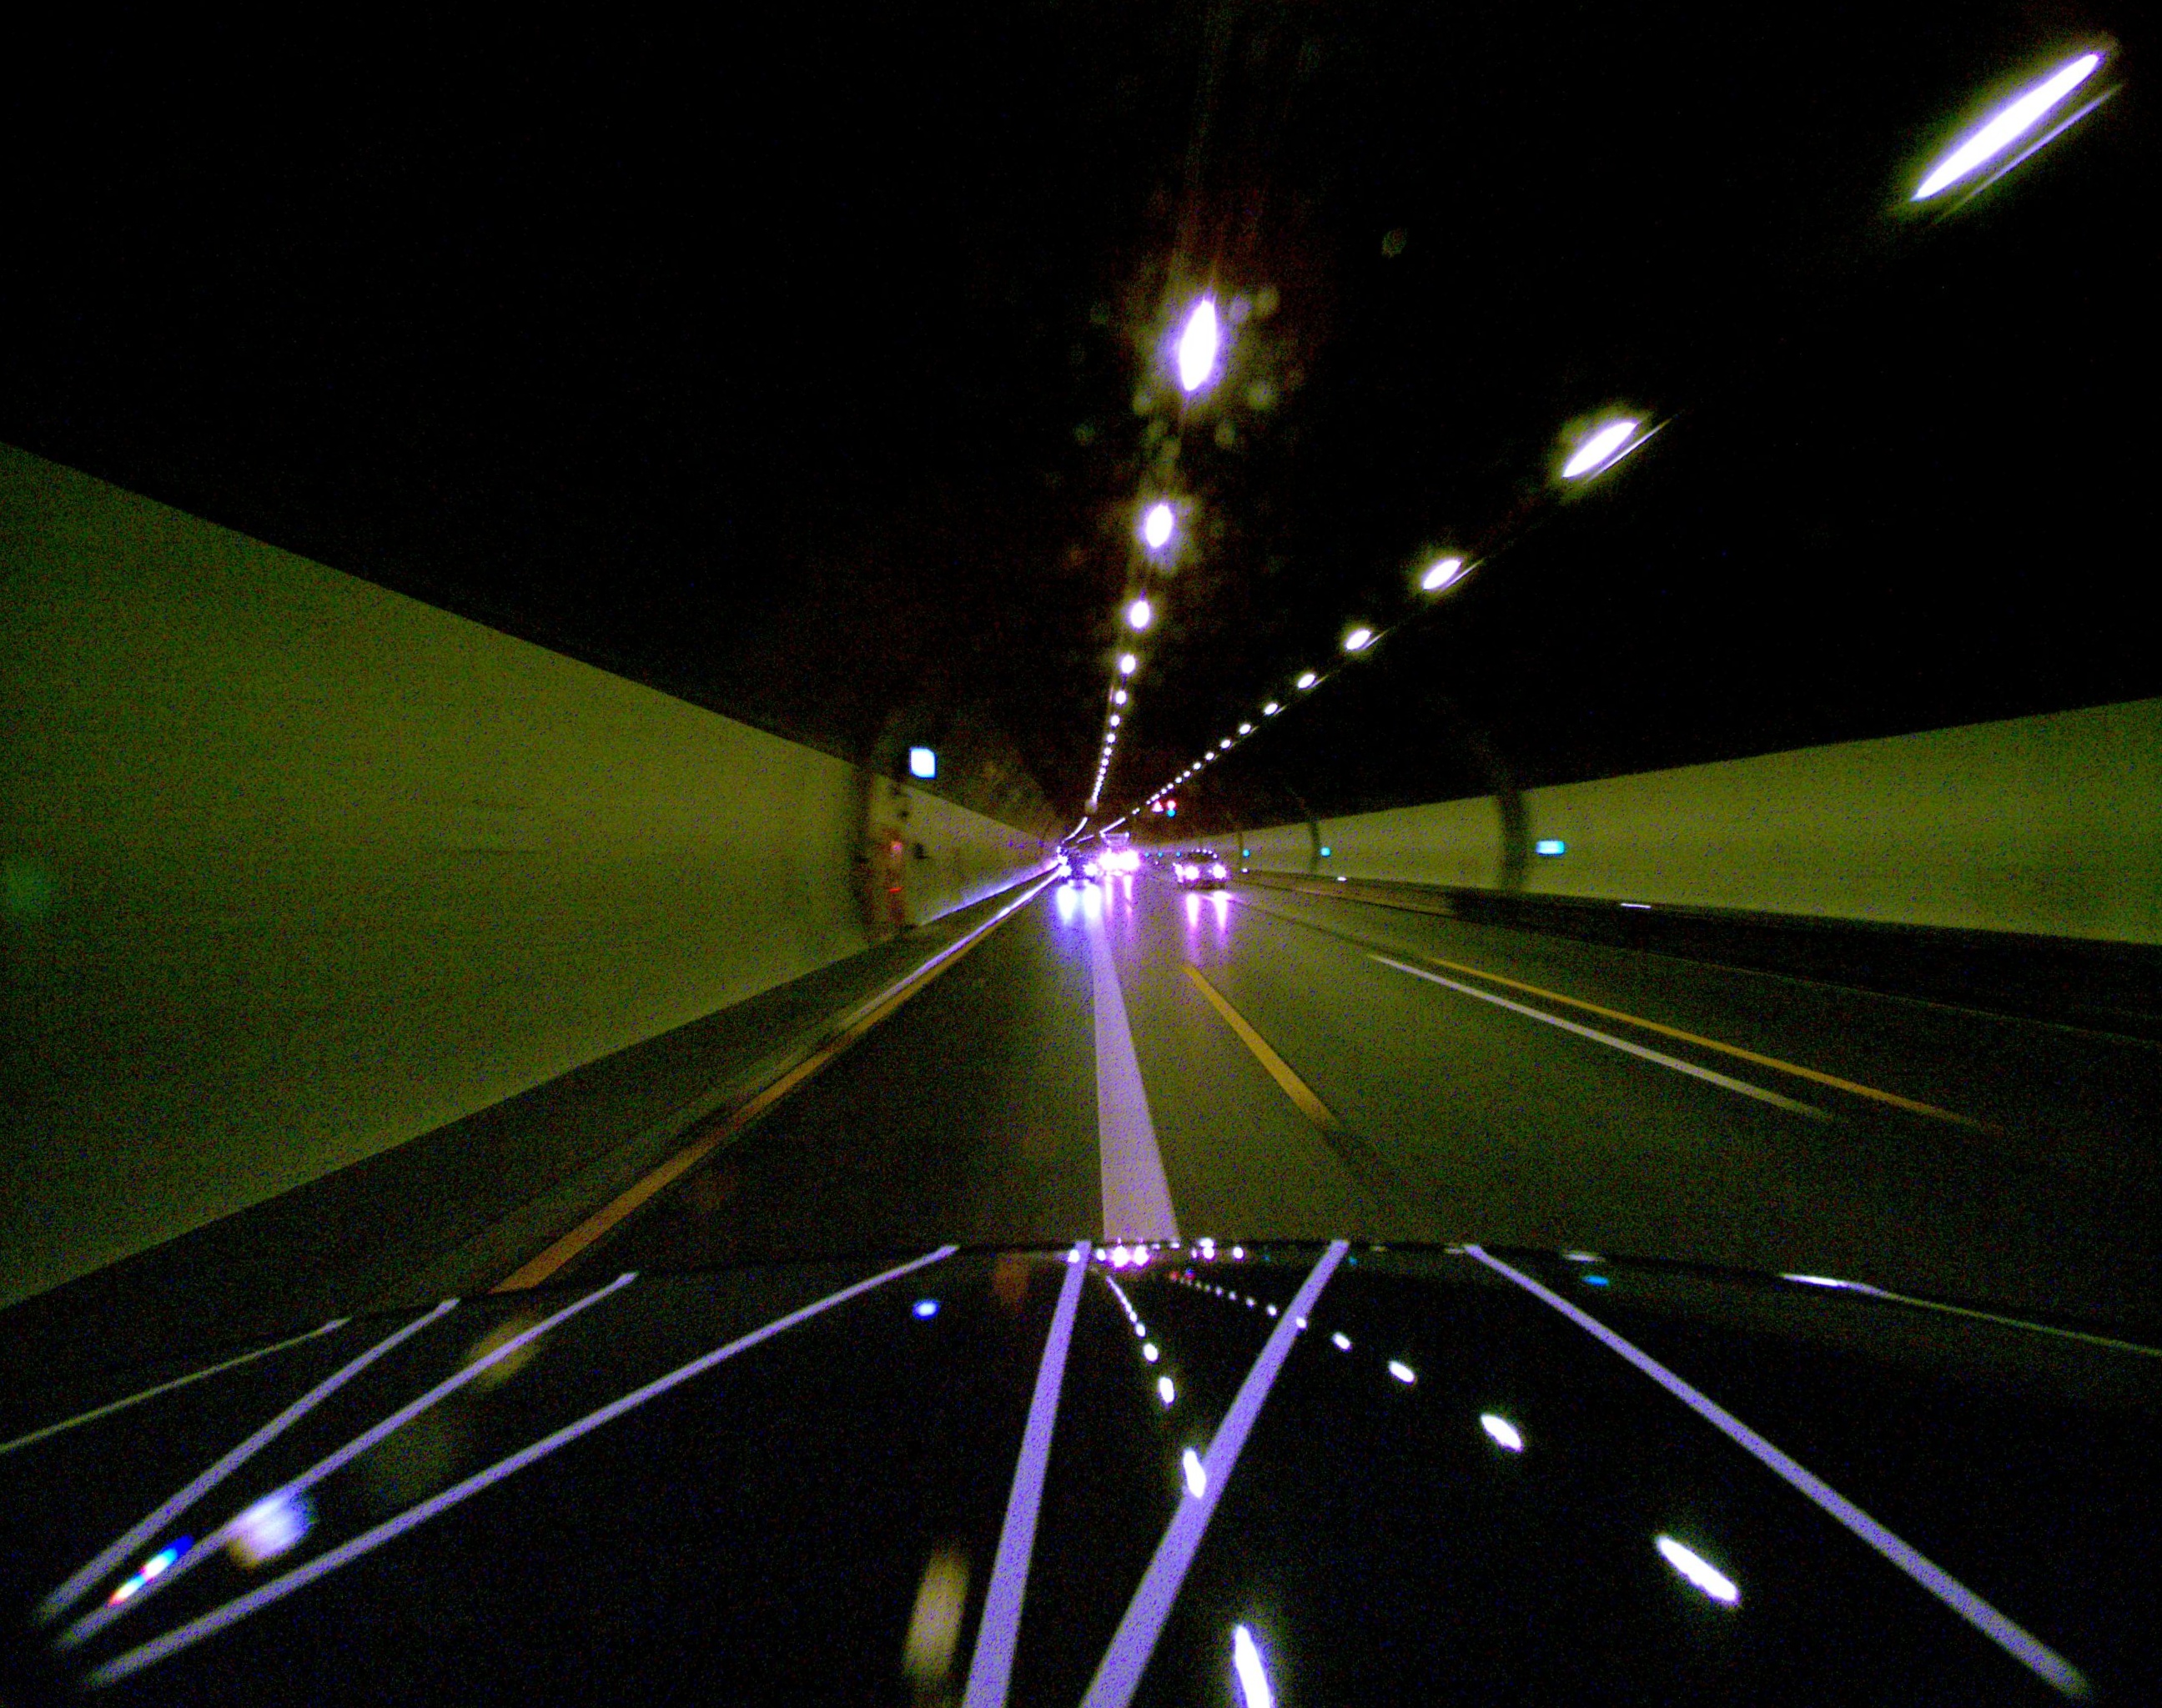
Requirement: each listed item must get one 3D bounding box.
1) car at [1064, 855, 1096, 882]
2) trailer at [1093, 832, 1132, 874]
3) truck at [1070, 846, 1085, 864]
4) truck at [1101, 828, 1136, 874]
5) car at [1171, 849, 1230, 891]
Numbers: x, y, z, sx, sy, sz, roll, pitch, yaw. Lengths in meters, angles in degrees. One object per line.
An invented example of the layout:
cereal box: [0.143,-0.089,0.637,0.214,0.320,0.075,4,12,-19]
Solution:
car: [-0.014,0.815,44.513,1.728,1.474,4.000,-2,0,1]
trailer: [2.609,-0.102,65.964,2.374,3.328,12.075,-1,0,-2]
truck: [-0.583,0.258,125.400,2.151,2.609,9.907,-2,-1,-1]
truck: [2.877,-0.238,59.023,2.374,3.328,4.719,-4,1,2]
car: [5.013,0.626,32.361,1.766,1.563,4.097,-2,1,0]
